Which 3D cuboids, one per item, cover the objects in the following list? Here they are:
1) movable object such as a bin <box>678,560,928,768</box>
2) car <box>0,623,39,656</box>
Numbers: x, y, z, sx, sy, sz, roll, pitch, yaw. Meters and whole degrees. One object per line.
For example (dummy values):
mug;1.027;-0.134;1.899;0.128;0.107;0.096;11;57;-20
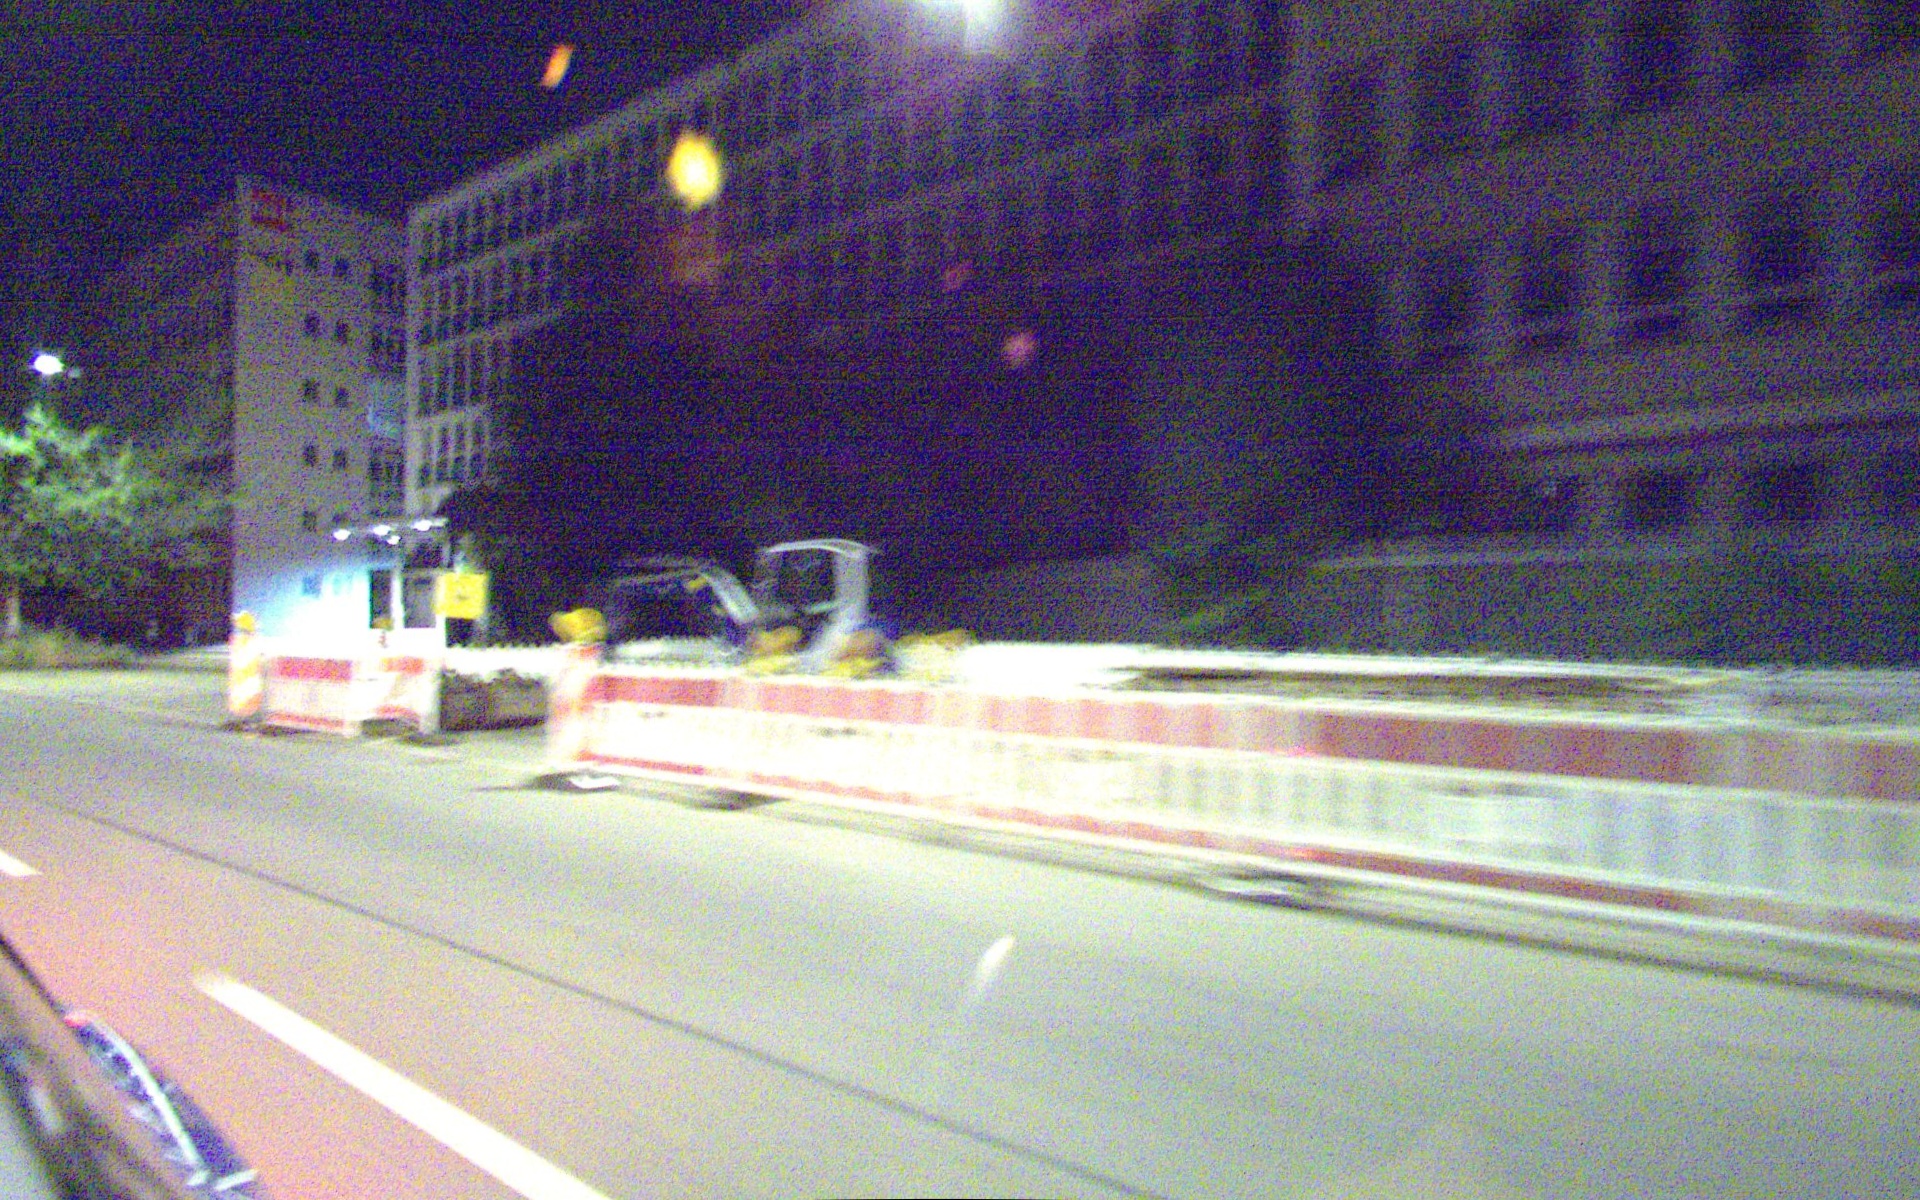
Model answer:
movable object such as a bin;-2.002;0.793;13.262;2.813;2.486;1.546;1;-3;15
car;-57.686;2.342;59.863;1.995;1.987;4.394;-2;-2;34
